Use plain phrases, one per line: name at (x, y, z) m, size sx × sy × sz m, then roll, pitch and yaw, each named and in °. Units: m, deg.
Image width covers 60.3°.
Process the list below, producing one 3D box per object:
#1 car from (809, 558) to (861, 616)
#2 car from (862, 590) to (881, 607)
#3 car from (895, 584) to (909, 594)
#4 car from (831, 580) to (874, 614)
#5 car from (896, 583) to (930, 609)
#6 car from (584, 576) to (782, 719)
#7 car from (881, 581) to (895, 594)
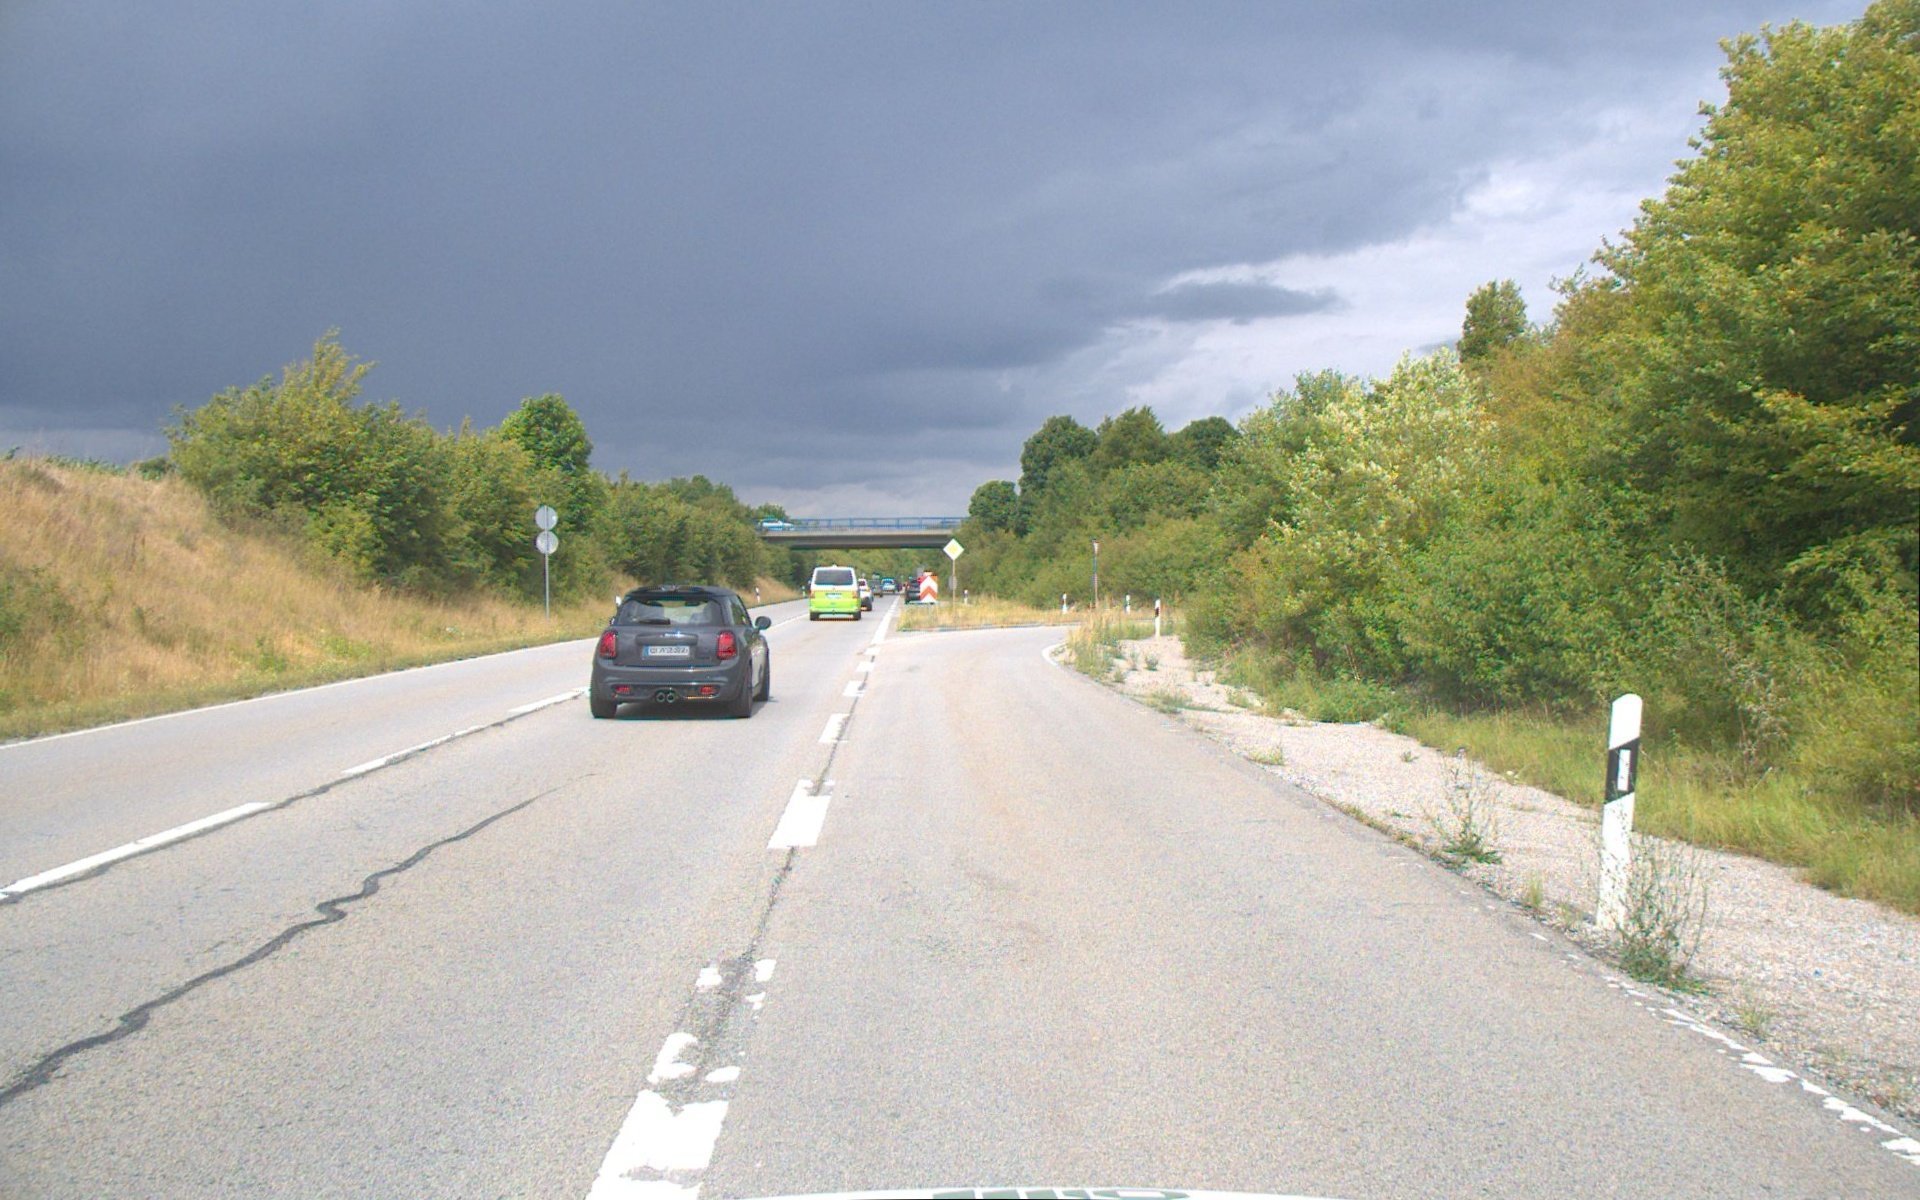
car at (-4.676, -0.483, 62.307) m, size 1.783 × 2.090 × 3.998 m, roll 1°, pitch 0°, yaw -2°
car at (-7.747, -0.119, 144.913) m, size 1.633 × 1.427 × 3.999 m, roll 1°, pitch 1°, yaw -2°
car at (-7.752, -1.480, 221.628) m, size 1.633 × 1.427 × 4.000 m, roll 1°, pitch 1°, yaw 1°
car at (-5.244, -0.147, 80.926) m, size 1.953 × 1.579 × 3.998 m, roll 1°, pitch 0°, yaw -2°
car at (-3.045, -0.249, 105.981) m, size 1.954 × 1.579 × 3.997 m, roll 1°, pitch 0°, yaw -4°
car at (-3.091, 0.475, 19.184) m, size 1.721 × 1.452 × 3.998 m, roll 1°, pitch 0°, yaw -2°
car at (-8.619, -1.499, 198.240) m, size 1.633 × 1.427 × 3.999 m, roll 1°, pitch 1°, yaw -2°
